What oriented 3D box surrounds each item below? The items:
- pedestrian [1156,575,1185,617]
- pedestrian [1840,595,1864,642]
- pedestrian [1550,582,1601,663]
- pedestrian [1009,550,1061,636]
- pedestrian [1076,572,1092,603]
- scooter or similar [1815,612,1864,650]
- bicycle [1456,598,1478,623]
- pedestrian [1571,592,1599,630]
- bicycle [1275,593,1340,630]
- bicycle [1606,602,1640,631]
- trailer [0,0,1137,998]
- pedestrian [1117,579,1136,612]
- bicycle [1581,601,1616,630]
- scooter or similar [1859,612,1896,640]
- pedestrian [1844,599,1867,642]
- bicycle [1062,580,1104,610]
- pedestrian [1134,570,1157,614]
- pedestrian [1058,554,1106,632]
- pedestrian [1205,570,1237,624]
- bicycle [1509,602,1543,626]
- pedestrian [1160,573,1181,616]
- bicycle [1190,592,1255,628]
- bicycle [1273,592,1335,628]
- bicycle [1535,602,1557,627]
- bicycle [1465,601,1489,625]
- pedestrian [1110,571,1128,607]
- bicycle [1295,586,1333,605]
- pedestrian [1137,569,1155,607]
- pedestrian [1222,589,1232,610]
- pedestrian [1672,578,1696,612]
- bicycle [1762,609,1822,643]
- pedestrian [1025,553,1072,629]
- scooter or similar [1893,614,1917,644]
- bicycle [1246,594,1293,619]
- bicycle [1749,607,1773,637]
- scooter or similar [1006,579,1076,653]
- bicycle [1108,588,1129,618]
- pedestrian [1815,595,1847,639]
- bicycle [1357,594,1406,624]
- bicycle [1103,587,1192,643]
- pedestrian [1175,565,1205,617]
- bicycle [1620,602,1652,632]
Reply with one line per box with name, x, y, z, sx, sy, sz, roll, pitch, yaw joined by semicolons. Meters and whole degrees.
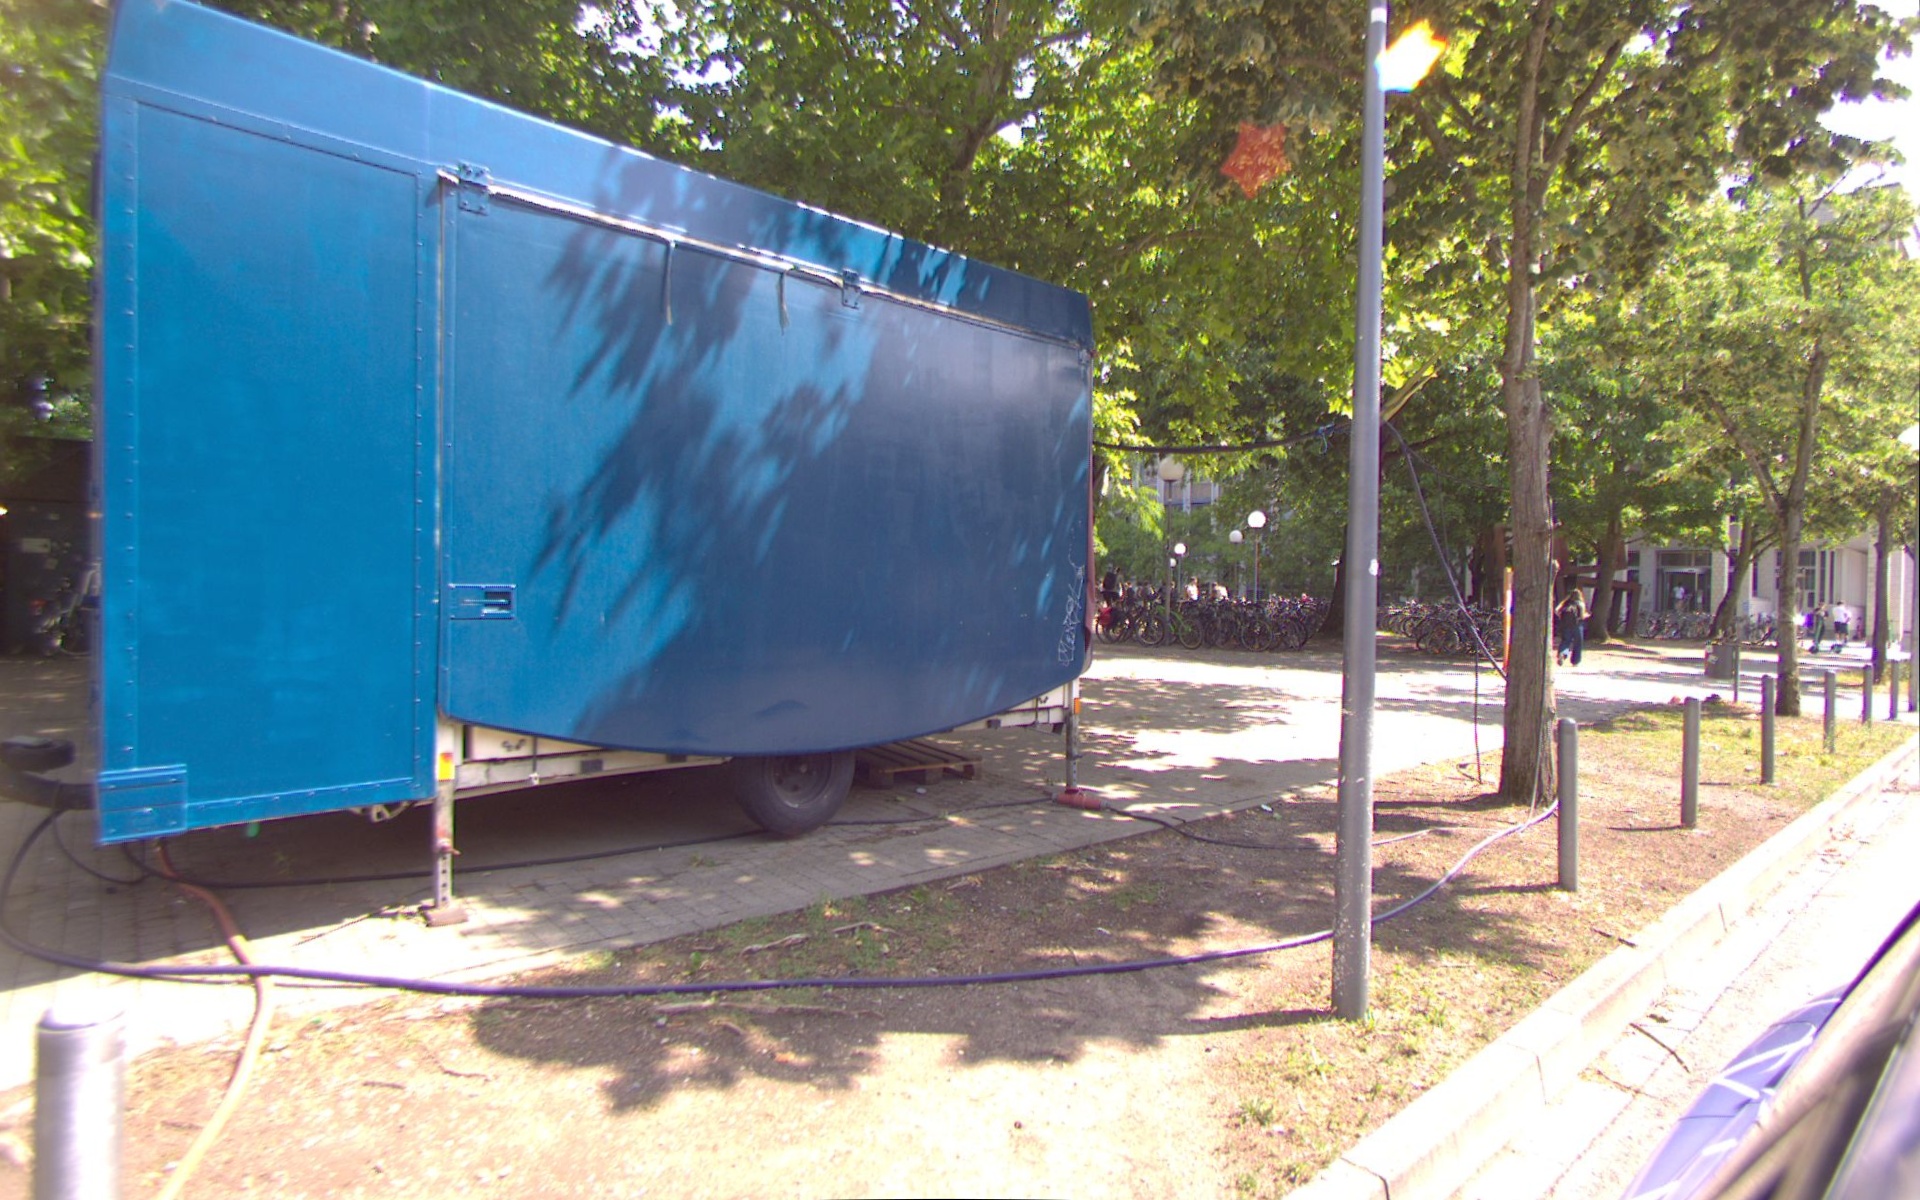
pedestrian;9.228;-0.171;44.290;0.954;1.797;0.963;2;0;27
pedestrian;37.046;0.751;42.011;0.675;1.914;0.685;0;1;-44
pedestrian;12.506;0.451;20.567;0.911;1.591;0.569;2;1;-41
pedestrian;1.693;-0.166;22.802;0.810;1.878;0.767;1;1;-41
pedestrian;6.383;-0.646;51.979;0.679;1.530;0.514;4;2;5
scooter or similar;28.267;0.995;32.527;1.333;1.128;0.498;3;0;-17
bicycle;23.603;0.502;47.080;0.453;1.144;1.661;-1;-3;43
pedestrian;29.243;0.513;47.371;0.737;1.762;0.935;1;0;-44
bicycle;11.122;0.361;32.403;1.875;1.096;0.477;3;1;13
bicycle;27.677;0.685;42.225;1.664;1.139;0.566;3;1;-36
trailer;-2.140;-0.488;5.061;6.150;3.089;2.696;1;2;-43
pedestrian;9.230;-0.235;56.132;0.729;1.797;0.722;2;0;-16
bicycle;26.941;0.649;42.691;1.664;1.139;0.628;3;1;-36
scooter or similar;44.625;1.248;49.250;0.555;1.226;1.508;1;2;8
pedestrian;37.875;0.865;42.820;0.533;1.751;0.613;1;1;-40
bicycle;4.893;-0.216;40.183;1.586;1.107;0.477;3;1;12
pedestrian;7.741;-0.321;42.267;0.737;1.797;0.715;2;0;24
pedestrian;3.243;-0.193;26.869;0.828;1.973;1.068;4;2;28
pedestrian;8.891;-0.093;34.483;0.708;1.797;0.744;2;0;-39
bicycle;25.095;0.628;44.878;1.663;1.061;0.618;2;-2;-34
pedestrian;8.846;-0.232;42.431;0.735;1.797;0.717;2;0;18
bicycle;8.021;0.302;30.934;1.863;0.991;0.304;3;1;22
bicycle;11.427;0.311;33.671;1.875;1.096;0.477;3;1;13
bicycle;25.651;0.624;44.289;0.566;1.061;1.671;-1;-3;41
bicycle;23.670;0.586;46.332;0.499;1.061;1.661;-1;-3;43
pedestrian;8.257;-0.574;52.498;0.730;1.797;0.721;2;0;-3
bicycle;20.500;-0.262;58.582;0.805;1.054;1.928;-3;4;-41
pedestrian;8.932;-0.561;48.619;0.732;1.797;0.719;2;0;9
pedestrian;15.600;-0.033;59.094;0.379;1.228;0.403;2;0;-33
pedestrian;39.572;-0.255;55.306;0.793;1.819;0.621;1;1;-9
bicycle;30.654;0.954;37.292;1.749;1.155;0.607;2;2;-8
pedestrian;2.400;-0.246;27.363;0.828;1.973;1.068;4;2;28
scooter or similar;40.059;1.220;42.886;1.485;1.226;0.564;1;3;-43
bicycle;13.415;0.295;43.871;1.868;0.991;0.479;2;1;0
bicycle;35.558;0.958;44.910;1.798;1.257;0.531;0;2;-43
scooter or similar;1.412;0.268;17.600;1.272;1.234;0.425;0;1;-41
bicycle;5.626;0.085;36.019;0.576;0.942;1.750;4;2;5
pedestrian;37.258;0.725;43.289;0.795;1.819;0.619;1;1;5
bicycle;17.866;0.392;42.909;1.818;1.185;0.434;2;0;14
bicycle;4.214;0.321;22.780;1.888;1.157;0.473;3;2;30
pedestrian;8.141;-0.312;35.799;0.742;1.797;0.710;2;0;41
bicycle;27.887;0.711;41.737;1.664;1.139;0.482;3;1;-36
